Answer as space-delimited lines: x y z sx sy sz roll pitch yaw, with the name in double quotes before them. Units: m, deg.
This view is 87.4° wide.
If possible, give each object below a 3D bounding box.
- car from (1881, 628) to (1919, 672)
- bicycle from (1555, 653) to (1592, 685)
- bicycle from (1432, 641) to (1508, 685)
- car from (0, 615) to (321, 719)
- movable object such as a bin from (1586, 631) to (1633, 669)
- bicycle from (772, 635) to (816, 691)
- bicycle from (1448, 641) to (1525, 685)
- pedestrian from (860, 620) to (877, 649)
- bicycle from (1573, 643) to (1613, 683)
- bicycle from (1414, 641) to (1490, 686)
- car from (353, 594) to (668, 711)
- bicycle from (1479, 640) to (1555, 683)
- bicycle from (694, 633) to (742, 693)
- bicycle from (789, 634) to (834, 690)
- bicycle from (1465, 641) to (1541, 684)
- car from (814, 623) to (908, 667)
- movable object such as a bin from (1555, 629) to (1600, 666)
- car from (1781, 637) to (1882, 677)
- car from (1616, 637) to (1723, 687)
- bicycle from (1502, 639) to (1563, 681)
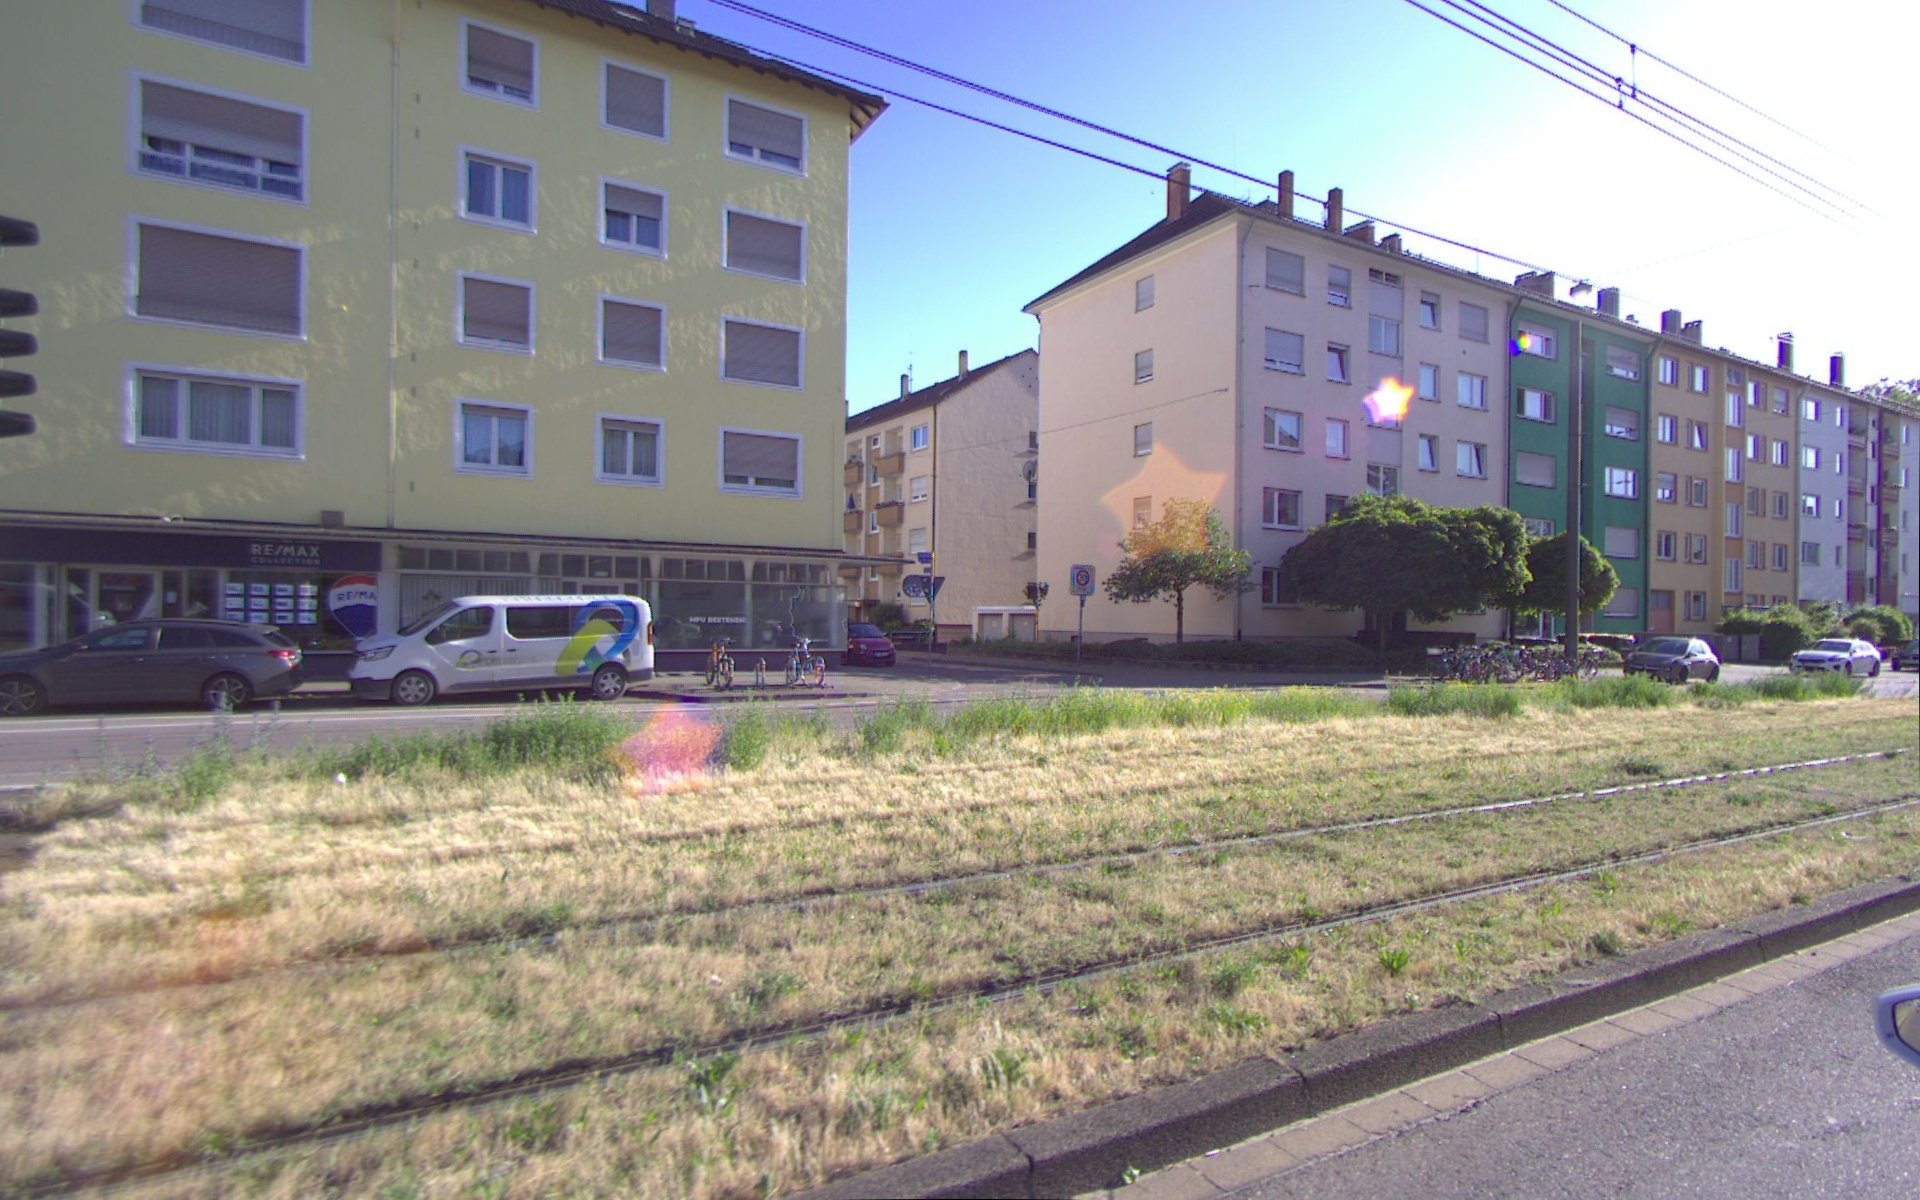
"car" 43.741 2.229 45.263 4.555 1.862 1.984 1 2 -30
"bicycle" 18.869 2.104 30.856 2.039 0.877 0.373 1 2 -42
"bicycle" 14.845 1.809 29.291 0.607 1.107 2.042 1 2 -23
"car" -13.509 1.053 16.900 4.542 1.494 1.774 1 2 -31
"movable object such as a bin" 25.688 1.966 39.743 1.026 1.386 1.142 1 2 -27
"bicycle" -3.808 1.412 22.920 0.386 1.120 1.811 1 2 -29
"bicycle" 15.486 1.838 29.598 0.607 1.107 2.042 1 2 -23
"pedestrian" -4.816 1.821 52.876 0.659 1.514 0.584 1 2 -32
"bicycle" 19.282 1.905 30.577 1.921 1.107 0.504 0 2 -42
"bicycle" 14.169 1.811 28.981 0.607 1.107 2.042 1 2 -23
"car" -8.762 0.943 19.801 5.442 1.975 1.981 1 2 -33
"bicycle" 16.706 1.830 30.184 0.607 1.107 2.042 1 2 -23
"bicycle" -5.323 1.352 22.009 0.467 1.120 2.088 1 2 -29
"bicycle" -3.425 1.409 23.095 0.386 1.120 1.811 1 2 -29
"bicycle" 16.138 1.841 29.915 0.607 1.107 2.042 1 2 -23
"car" -3.554 1.569 35.327 1.753 1.431 3.966 1 -2 -32
"movable object such as a bin" 25.144 1.920 40.916 1.026 1.386 1.142 1 2 -27
"car" 34.833 2.240 40.114 4.324 1.474 1.720 1 0 -30
"car" 23.867 2.049 33.754 3.693 1.461 1.626 1 1 -32
"bicycle" 17.727 1.839 31.134 0.603 1.107 2.053 2 1 -3
